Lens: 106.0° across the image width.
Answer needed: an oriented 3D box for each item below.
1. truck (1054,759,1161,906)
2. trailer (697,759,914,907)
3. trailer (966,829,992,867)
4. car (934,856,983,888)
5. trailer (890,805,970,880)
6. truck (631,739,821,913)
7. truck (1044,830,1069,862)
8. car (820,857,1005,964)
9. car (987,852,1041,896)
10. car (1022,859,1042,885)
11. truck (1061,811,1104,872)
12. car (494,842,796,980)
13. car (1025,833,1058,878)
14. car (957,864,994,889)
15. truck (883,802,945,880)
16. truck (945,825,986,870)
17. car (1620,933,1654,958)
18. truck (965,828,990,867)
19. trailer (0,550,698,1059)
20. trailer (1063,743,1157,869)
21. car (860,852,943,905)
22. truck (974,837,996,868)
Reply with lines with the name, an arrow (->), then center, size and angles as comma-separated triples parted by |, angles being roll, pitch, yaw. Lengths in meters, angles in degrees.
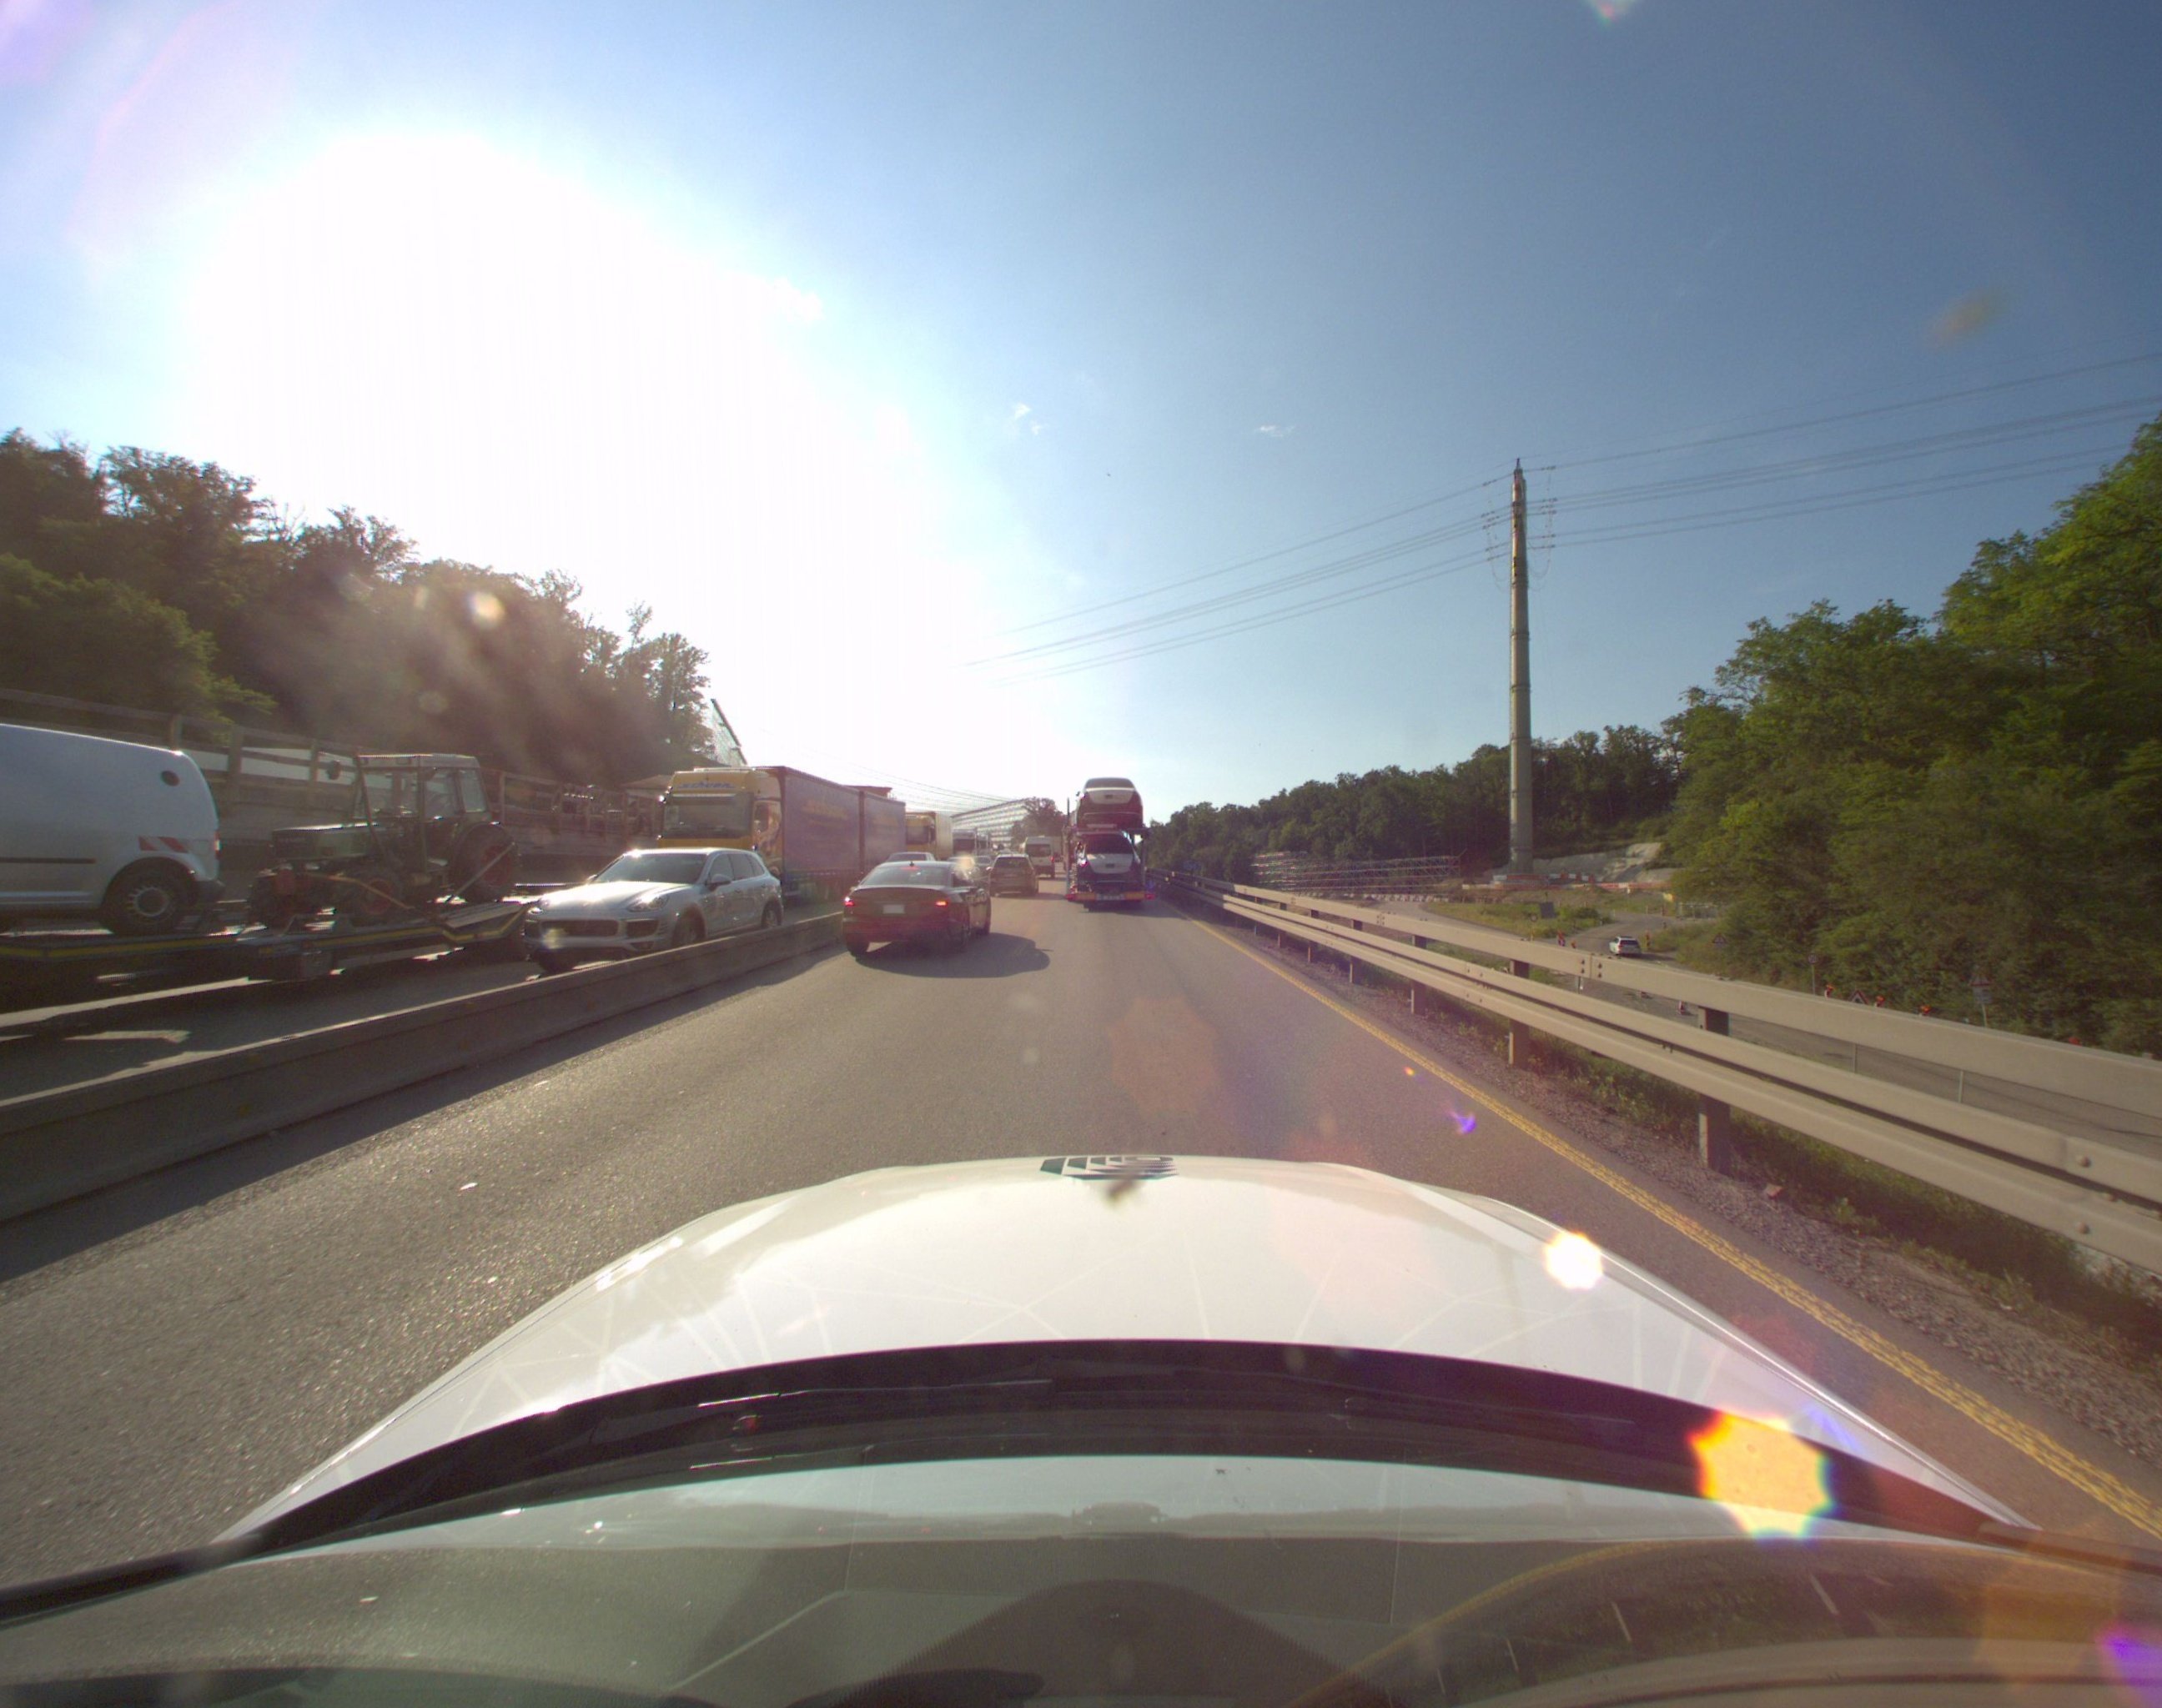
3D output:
truck -> 0.823, -0.552, 25.187 | 2.859, 3.980, 5.773 | -1, -1, 2
trailer -> -9.487, -0.472, 31.377 | 2.706, 4.135, 16.746 | -1, -1, 0
trailer -> -12.395, -0.591, 99.961 | 2.448, 4.266, 12.126 | -1, -1, -4
car -> -6.151, 0.890, 41.349 | 1.783, 1.497, 4.723 | -1, -1, 0
trailer -> -9.632, -0.525, 54.135 | 2.694, 4.204, 15.986 | -1, -1, -1
truck -> -9.452, -0.630, 22.475 | 2.693, 4.141, 5.792 | -1, -1, 0
truck -> -3.759, -1.255, 127.012 | 3.638, 4.677, 11.688 | -1, 0, -2
car -> -2.674, 0.843, 14.350 | 1.933, 1.480, 5.224 | -2, -1, 2
car -> -2.531, 0.769, 31.691 | 1.695, 1.587, 4.147 | -1, -1, 1
car -> -3.912, 1.463, 65.639 | 1.525, 2.014, 3.995 | 2, -1, -3
truck -> -0.012, -1.009, 68.755 | 3.219, 4.677, 11.688 | -1, 0, -2
car -> -6.188, 0.732, 12.389 | 1.953, 1.645, 4.847 | -1, -1, 0
car -> -2.502, 0.122, 52.114 | 1.974, 2.684, 4.144 | -1, -1, -2
car -> -6.618, 1.399, 51.453 | 1.792, 1.453, 4.613 | -1, -1, -1
truck -> -9.423, -0.655, 46.278 | 2.687, 4.197, 4.394 | -1, -1, -2
truck -> -11.013, -0.456, 78.783 | 2.803, 3.970, 13.874 | -1, -1, -4
car -> 43.490, 7.117, 63.639 | 1.511, 1.461, 4.293 | -2, -1, 43
truck -> -12.001, -0.690, 94.836 | 2.439, 4.272, 6.311 | -1, -1, -4
trailer -> -9.396, -0.324, 8.571 | 2.739, 3.816, 16.050 | -2, 0, 1
trailer -> 0.761, -1.420, 33.725 | 2.867, 3.994, 15.268 | -1, -1, -2
car -> -6.332, 0.855, 29.220 | 1.921, 1.701, 4.690 | -1, -1, 0
truck -> -13.850, -0.189, 117.763 | 2.890, 4.272, 5.758 | -1, -1, -6
